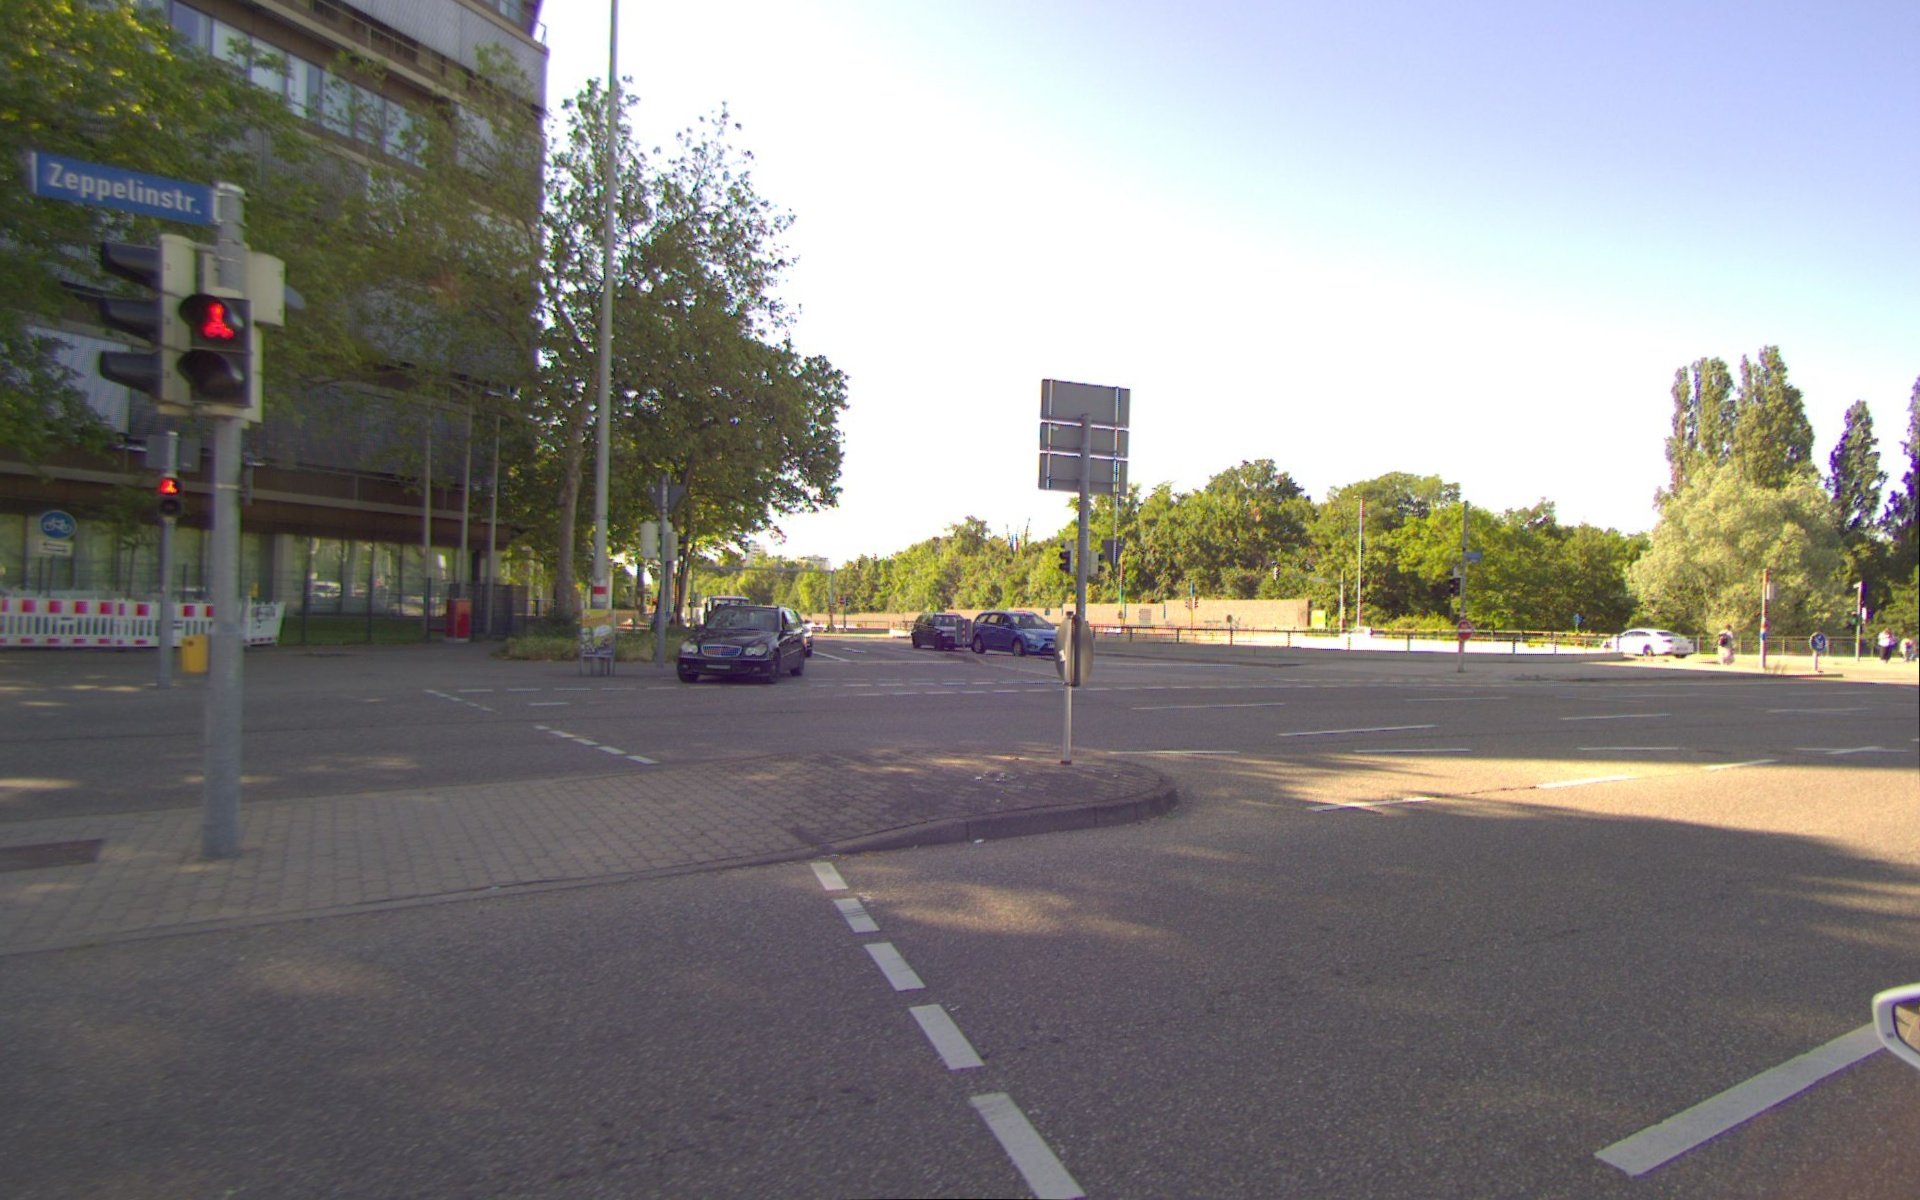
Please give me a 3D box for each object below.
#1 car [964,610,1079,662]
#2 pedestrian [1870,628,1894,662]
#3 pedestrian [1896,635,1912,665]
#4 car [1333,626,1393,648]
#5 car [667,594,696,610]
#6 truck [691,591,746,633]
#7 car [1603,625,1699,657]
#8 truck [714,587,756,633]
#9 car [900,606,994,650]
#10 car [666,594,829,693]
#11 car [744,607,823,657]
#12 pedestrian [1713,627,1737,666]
[{"bbox_3d":[1.975,1.164,33.615,1.926,1.561,4.429,2,-1,-26],"label":"car"},{"bbox_3d":[42.785,2.089,46.607,0.699,1.568,0.727,1,-1,32],"label":"pedestrian"},{"bbox_3d":[51.579,2.736,54.898,0.548,1.568,0.575,1,-2,32],"label":"pedestrian"},{"bbox_3d":[29.637,2.705,73.993,1.970,1.528,3.981,1,-1,-20],"label":"car"},{"bbox_3d":[-30.885,0.231,111.392,1.796,1.722,4.156,2,0,-34],"label":"car"},{"bbox_3d":[-24.051,1.123,99.613,3.799,3.847,9.289,1,1,-23],"label":"truck"},{"bbox_3d":[34.433,2.003,50.187,1.751,1.433,4.318,1,-1,-2],"label":"car"},{"bbox_3d":[-12.733,0.553,56.828,2.127,2.391,7.495,2,0,-13],"label":"truck"},{"bbox_3d":[-0.589,1.055,38.774,1.926,1.561,4.429,2,-1,-26],"label":"car"},{"bbox_3d":[-3.944,0.766,19.546,1.912,1.643,4.787,1,-1,3],"label":"car"},{"bbox_3d":[-5.550,0.947,31.175,1.850,1.376,4.493,2,-1,-17],"label":"car"},{"bbox_3d":[29.675,1.784,38.940,0.671,1.482,0.699,1,0,42],"label":"pedestrian"}]
